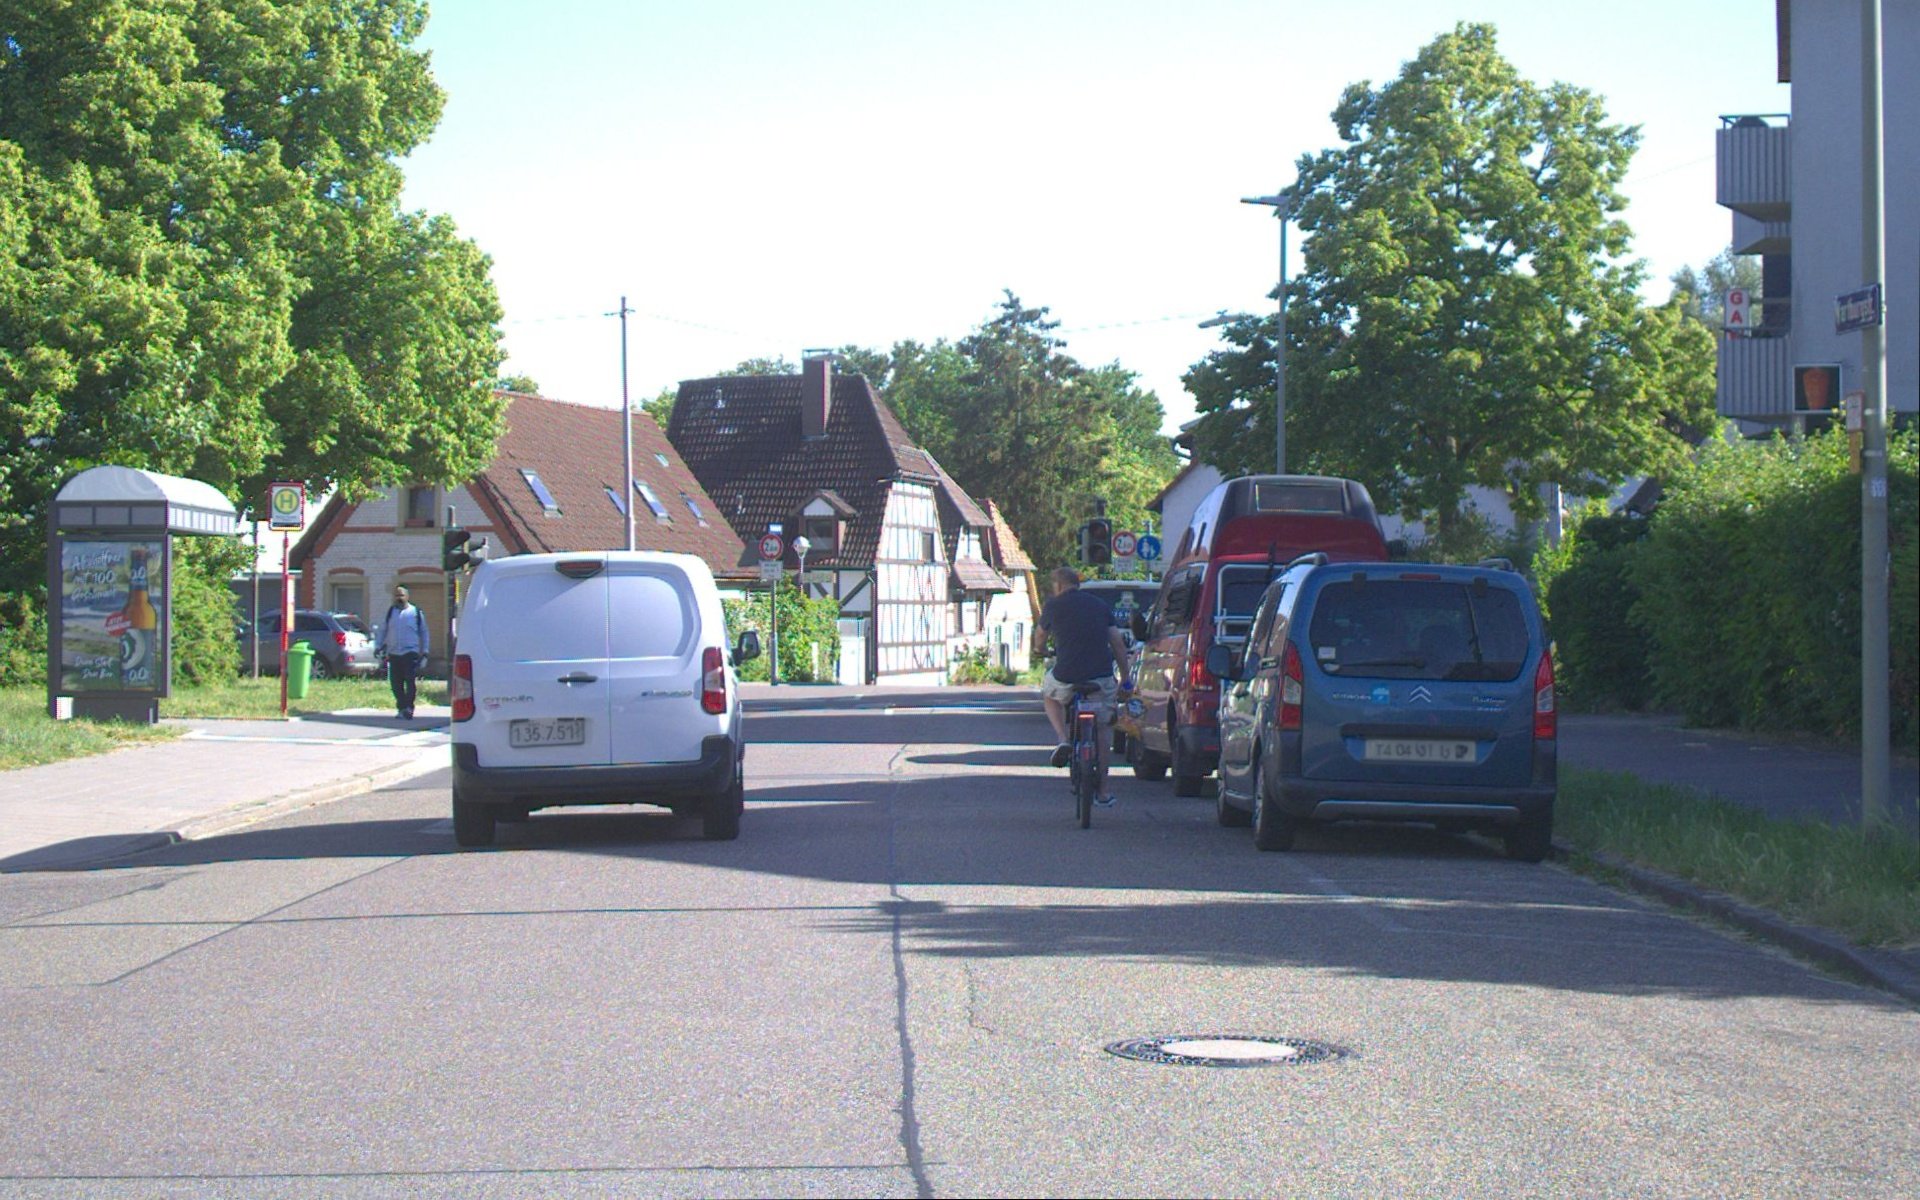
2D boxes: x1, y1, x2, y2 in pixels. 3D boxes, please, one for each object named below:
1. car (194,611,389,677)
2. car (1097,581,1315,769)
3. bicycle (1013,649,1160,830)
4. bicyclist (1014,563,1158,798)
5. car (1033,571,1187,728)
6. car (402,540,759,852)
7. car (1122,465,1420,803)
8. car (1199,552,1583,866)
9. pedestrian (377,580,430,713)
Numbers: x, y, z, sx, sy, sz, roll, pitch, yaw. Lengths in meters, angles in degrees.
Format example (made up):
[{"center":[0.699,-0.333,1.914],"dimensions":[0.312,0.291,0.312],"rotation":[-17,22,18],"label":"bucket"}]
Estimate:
[{"center":[-15.138,0.992,77.889],"dimensions":[3.980,1.424,1.714],"rotation":[0,0,18],"label":"car"},{"center":[2.490,0.756,35.721],"dimensions":[1.804,1.779,4.000],"rotation":[2,-1,-2],"label":"car"},{"center":[0.847,0.930,23.673],"dimensions":[0.786,1.135,2.280],"rotation":[0,0,-4],"label":"bicycle"},{"center":[0.854,0.546,23.642],"dimensions":[0.905,1.579,0.966],"rotation":[1,-1,-2],"label":"bicyclist"},{"center":[2.072,0.691,48.509],"dimensions":[1.804,2.062,4.000],"rotation":[2,-1,-2],"label":"car"},{"center":[-2.423,0.571,22.986],"dimensions":[1.993,1.875,4.289],"rotation":[1,0,-1],"label":"car"},{"center":[2.535,0.286,29.122],"dimensions":[1.866,2.554,4.768],"rotation":[2,-1,-2],"label":"car"},{"center":[2.672,0.659,22.182],"dimensions":[1.804,1.779,4.000],"rotation":[2,-1,-2],"label":"car"},{"center":[-7.576,0.630,46.801],"dimensions":[0.621,1.799,0.640],"rotation":[0,-1,-2],"label":"pedestrian"}]
